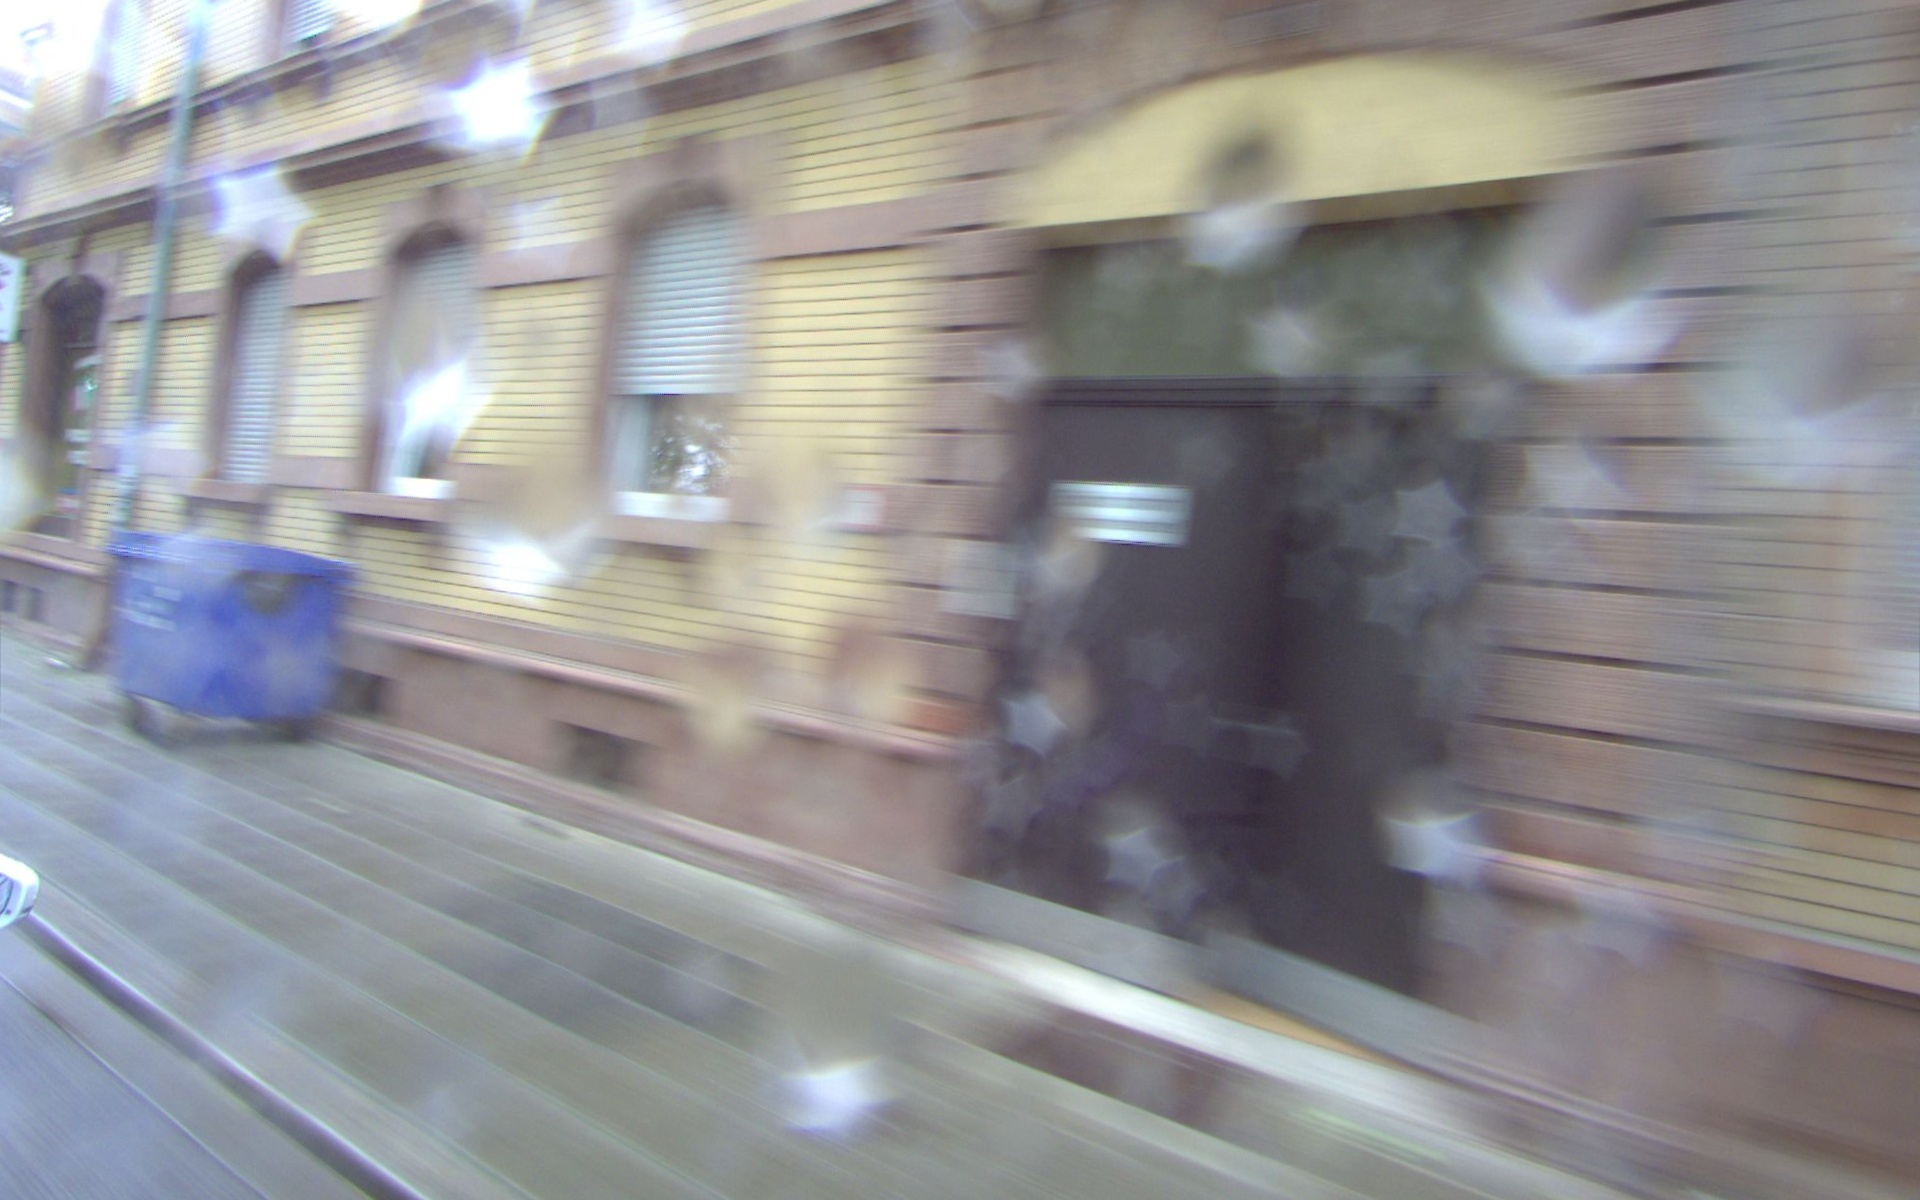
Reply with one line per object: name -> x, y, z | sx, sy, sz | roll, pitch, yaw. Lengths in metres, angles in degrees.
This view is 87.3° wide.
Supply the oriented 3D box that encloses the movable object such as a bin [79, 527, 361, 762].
movable object such as a bin -> -5.001, 0.271, 6.810 | 1.344, 1.318, 1.022 | 7, 2, 31
